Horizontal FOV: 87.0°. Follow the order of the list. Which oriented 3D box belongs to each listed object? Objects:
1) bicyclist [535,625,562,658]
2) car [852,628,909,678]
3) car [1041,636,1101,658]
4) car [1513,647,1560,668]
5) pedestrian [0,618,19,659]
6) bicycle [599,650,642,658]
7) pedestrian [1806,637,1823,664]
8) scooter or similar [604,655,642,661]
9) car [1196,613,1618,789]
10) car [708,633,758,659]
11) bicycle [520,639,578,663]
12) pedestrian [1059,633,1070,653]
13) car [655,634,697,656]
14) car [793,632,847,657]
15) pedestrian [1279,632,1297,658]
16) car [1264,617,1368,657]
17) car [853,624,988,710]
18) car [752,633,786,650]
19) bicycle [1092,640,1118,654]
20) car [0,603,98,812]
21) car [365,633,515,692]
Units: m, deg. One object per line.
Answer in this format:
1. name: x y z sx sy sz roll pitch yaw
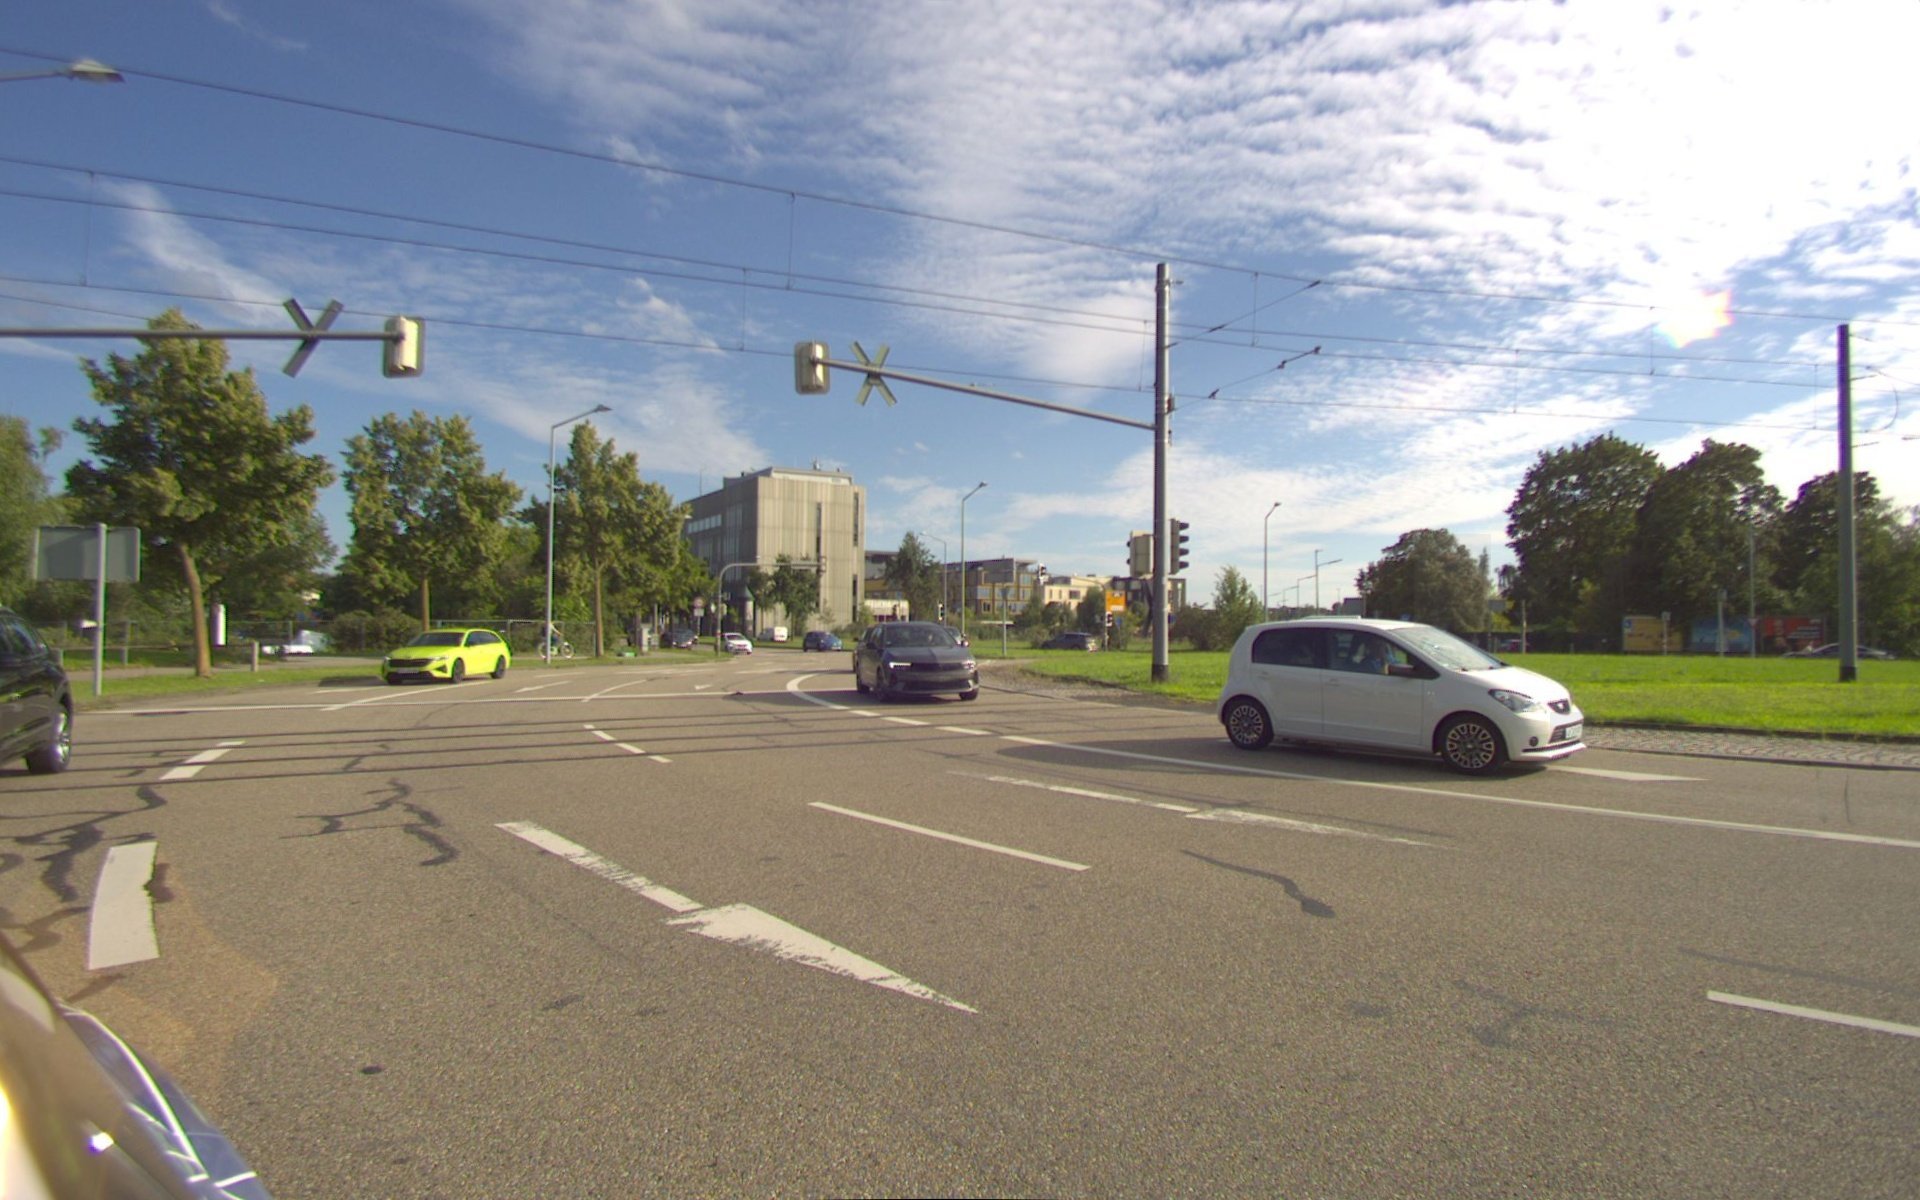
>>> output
1. bicyclist: -19.777 2.005 48.666 0.801 1.559 0.895 -1 -2 32
2. car: -2.587 1.663 32.313 1.668 1.486 4.233 0 -2 -6
3. car: 7.886 3.338 72.042 3.992 1.513 1.662 -1 -5 41
4. car: 45.197 4.492 79.409 1.665 1.513 3.986 0 -2 6
5. pedestrian: -40.957 1.635 43.402 0.587 1.745 0.669 1 -2 -9
6. bicycle: -19.618 3.134 58.462 2.236 0.349 1.081 -4 -3 24
7. pedestrian: 52.275 3.104 61.918 0.541 1.637 0.505 0 -2 7
8. scooter or similar: -18.535 3.176 55.693 1.289 0.283 1.536 -1 -3 33
9. car: 4.545 0.920 10.691 1.739 1.475 3.665 -1 -1 -41
10. car: -15.680 3.156 69.749 1.966 1.674 4.818 1 -2 -30
11. bicycle: -19.753 2.433 48.677 0.802 1.134 2.571 -1 -2 34
12. pedestrian: 8.731 3.565 84.499 0.618 1.642 0.660 0 -2 -30
13. car: -22.870 3.554 81.336 1.966 1.674 4.817 1 -2 -32
14. car: -9.962 3.148 71.877 1.966 1.674 4.817 1 -2 -32
15. pedestrian: 24.743 3.412 76.344 0.881 1.931 0.869 -1 -1 -26
16. car: 21.913 2.305 62.602 5.972 2.281 2.054 1 -4 17
17. car: -0.894 1.195 19.447 1.794 1.431 4.458 0 -1 -13
18. car: -20.654 4.484 109.475 1.658 1.839 4.571 4 -4 -38
19. bicycle: 10.697 3.469 74.772 1.806 0.996 0.613 1 -2 -21
20. car: -9.001 0.875 8.465 1.841 1.708 5.030 1 -2 -31
21. car: -14.070 1.645 27.722 1.870 1.431 4.609 -1 -1 -1
